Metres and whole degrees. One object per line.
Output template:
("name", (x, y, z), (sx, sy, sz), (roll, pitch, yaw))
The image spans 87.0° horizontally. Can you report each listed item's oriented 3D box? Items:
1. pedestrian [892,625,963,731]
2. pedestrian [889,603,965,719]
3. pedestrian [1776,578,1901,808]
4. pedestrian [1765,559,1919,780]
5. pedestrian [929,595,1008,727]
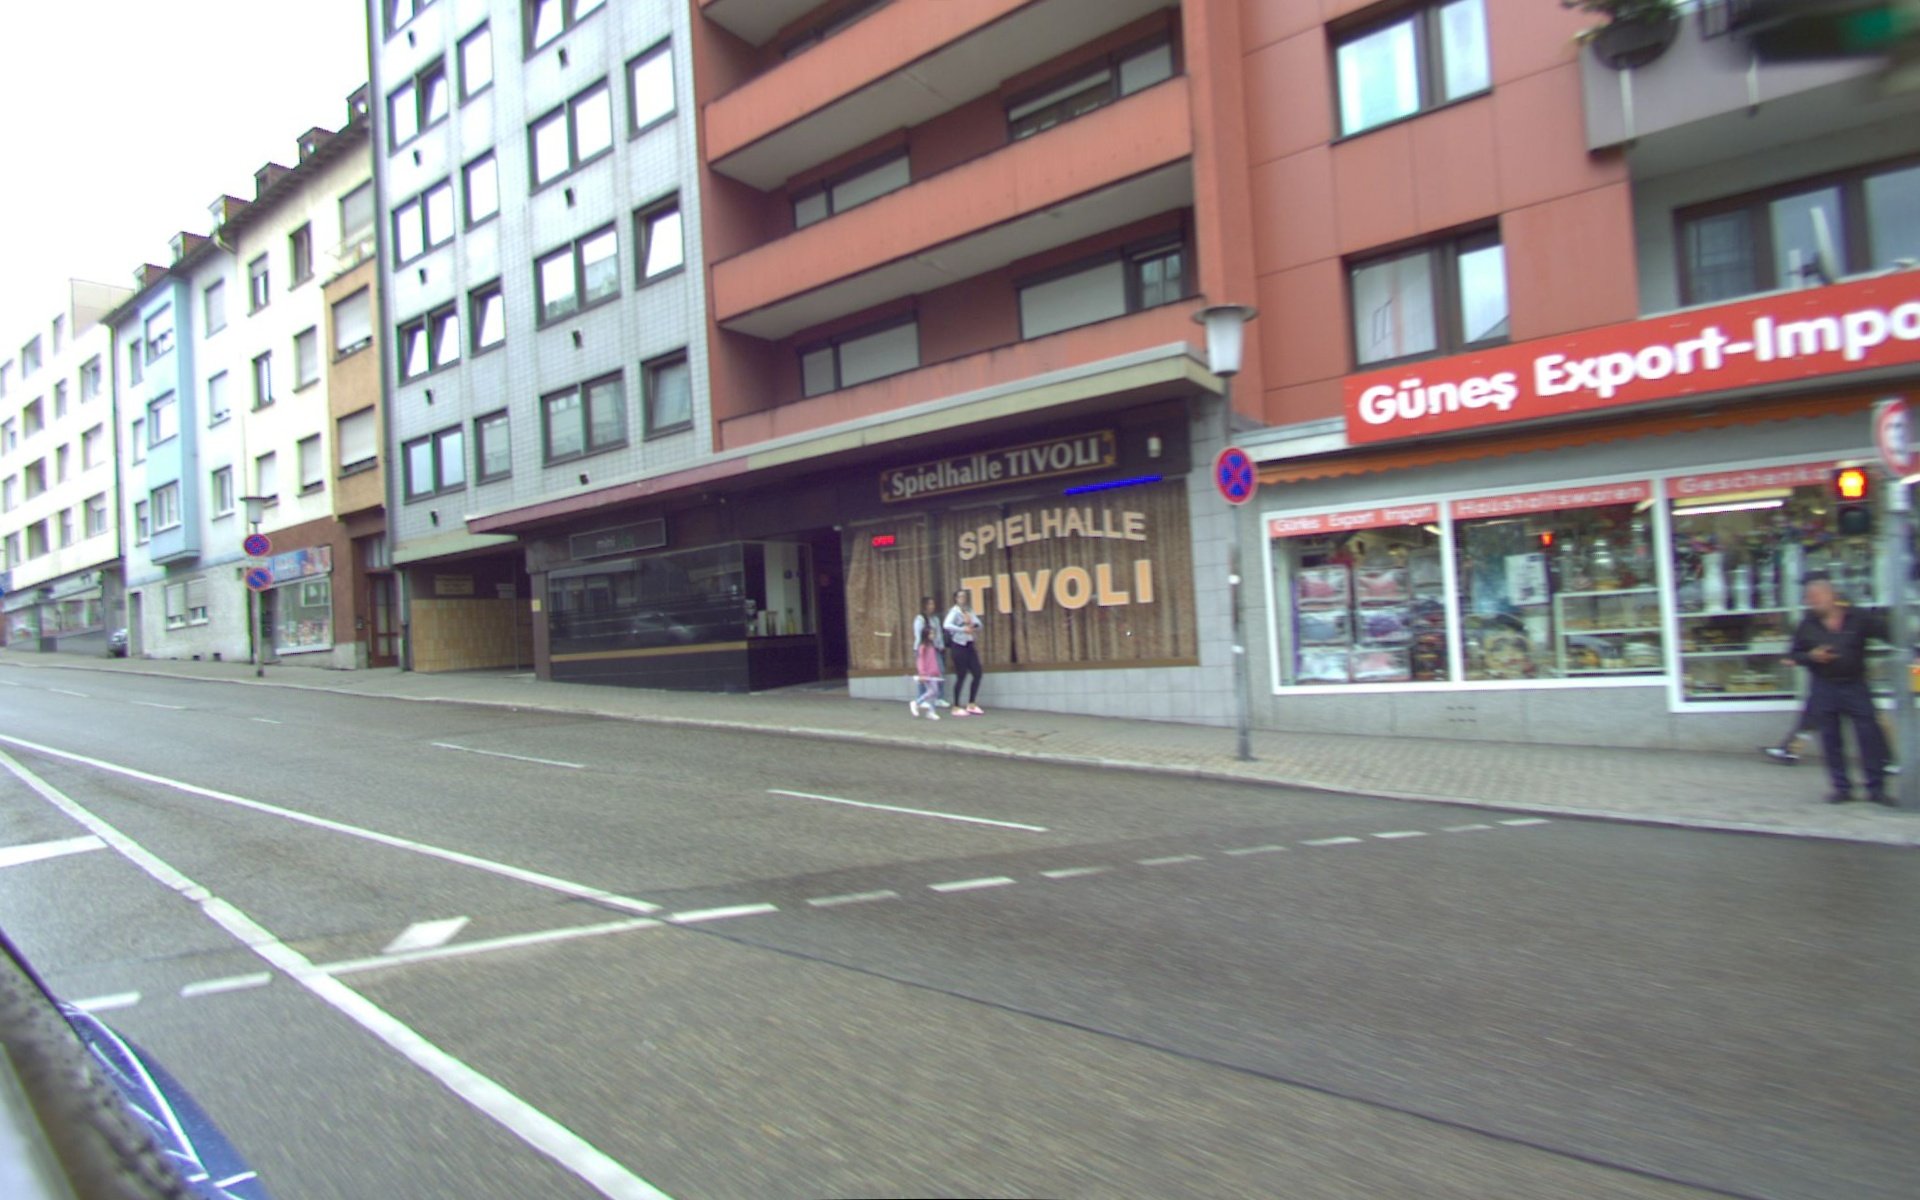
("pedestrian", (-0.431, 1.013, 13.338), (0.720, 1.333, 0.530), (-2, 1, 28))
("pedestrian", (-0.460, 0.853, 14.510), (0.720, 1.572, 0.822), (-2, 1, 28))
("pedestrian", (6.853, 0.695, 7.926), (0.622, 1.710, 0.549), (-2, -1, 33))
("pedestrian", (7.886, 0.595, 9.079), (0.840, 1.862, 0.756), (-2, -1, 27))
("pedestrian", (0.118, 0.803, 13.810), (0.720, 1.702, 0.822), (-2, 1, 28))
